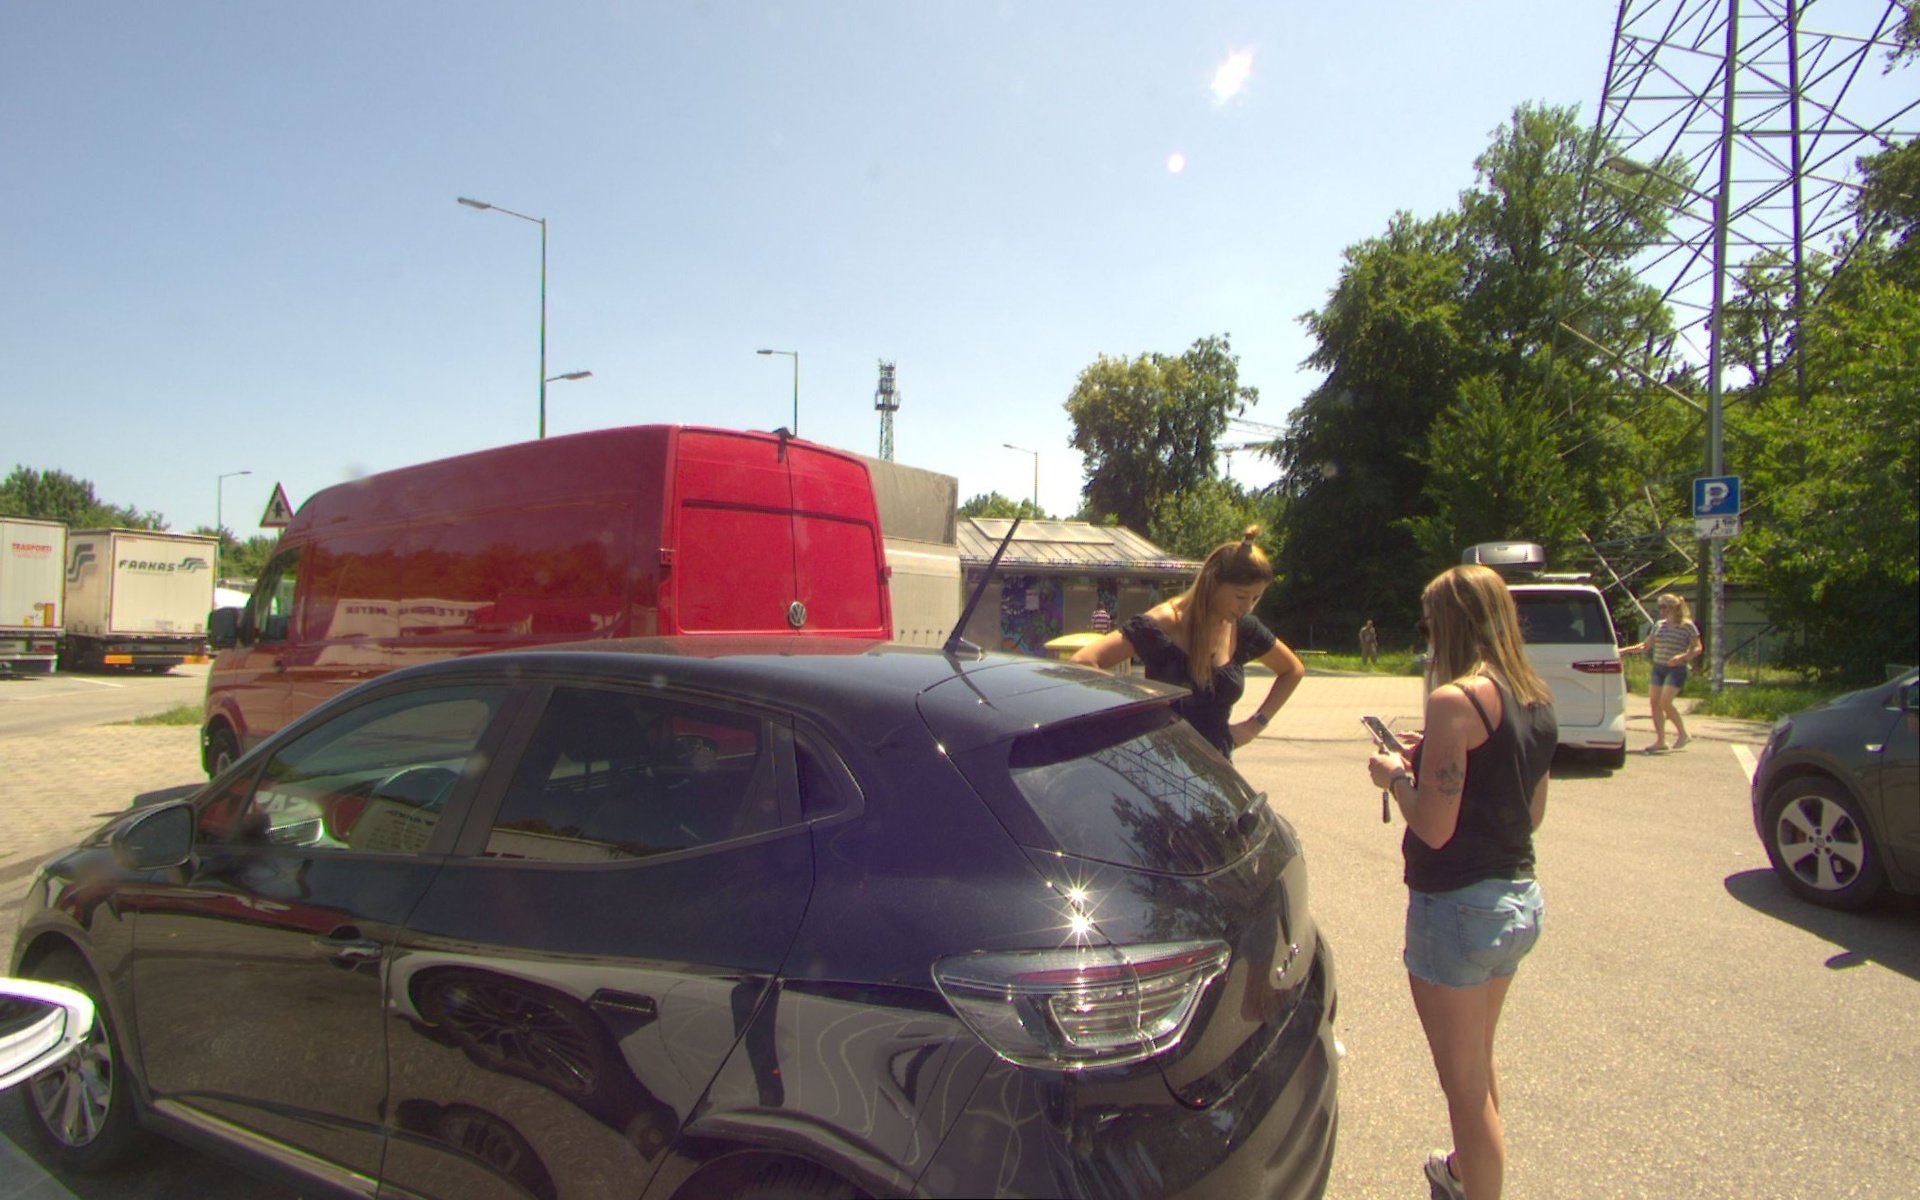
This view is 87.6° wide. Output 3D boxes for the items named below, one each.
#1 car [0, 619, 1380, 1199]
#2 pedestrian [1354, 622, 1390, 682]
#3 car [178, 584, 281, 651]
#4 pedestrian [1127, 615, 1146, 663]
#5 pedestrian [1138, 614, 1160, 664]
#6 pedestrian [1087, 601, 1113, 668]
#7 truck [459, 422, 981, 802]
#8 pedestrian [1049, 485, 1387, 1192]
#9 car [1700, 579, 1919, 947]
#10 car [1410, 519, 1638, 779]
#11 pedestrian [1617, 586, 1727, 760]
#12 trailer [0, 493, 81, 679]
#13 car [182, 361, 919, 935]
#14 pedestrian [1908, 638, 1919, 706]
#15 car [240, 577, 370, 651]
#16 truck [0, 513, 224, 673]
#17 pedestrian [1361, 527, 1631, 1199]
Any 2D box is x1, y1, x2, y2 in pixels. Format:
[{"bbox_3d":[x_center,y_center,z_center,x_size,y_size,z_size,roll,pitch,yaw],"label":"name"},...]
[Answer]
[{"bbox_3d":[-0.867,0.823,2.807,3.629,1.476,1.775,-1,-2,28],"label":"car"},{"bbox_3d":[14.207,1.771,34.559,0.955,2.039,0.829,0,-1,10],"label":"pedestrian"},{"bbox_3d":[-29.914,0.758,41.016,3.943,2.632,2.111,-1,-2,32],"label":"car"},{"bbox_3d":[5.122,1.126,29.006,0.439,1.362,0.477,0,0,23],"label":"pedestrian"},{"bbox_3d":[5.627,1.151,29.859,0.521,1.478,0.576,0,0,23],"label":"pedestrian"},{"bbox_3d":[3.786,0.937,27.024,0.520,1.783,0.651,0,0,23],"label":"pedestrian"},{"bbox_3d":[-2.454,0.174,9.932,4.751,2.863,2.514,-1,-2,34],"label":"truck"},{"bbox_3d":[0.795,0.647,3.091,0.899,1.884,0.485,1,0,-27],"label":"pedestrian"},{"bbox_3d":[5.137,0.725,3.790,1.803,1.638,4.168,1,-1,4],"label":"car"},{"bbox_3d":[6.624,0.514,11.873,1.901,2.401,4.954,1,-1,29],"label":"car"},{"bbox_3d":[8.127,0.814,11.469,0.826,1.903,0.775,-1,-1,21],"label":"pedestrian"},{"bbox_3d":[-28.627,-0.340,27.887,12.642,4.510,2.677,0,-1,32],"label":"trailer"},{"bbox_3d":[-3.384,0.251,7.334,6.298,2.668,1.988,0,-1,36],"label":"car"},{"bbox_3d":[17.152,1.260,17.420,0.694,1.178,0.787,-1,-1,22],"label":"pedestrian"},{"bbox_3d":[-29.443,0.605,44.934,6.259,3.114,2.495,0,-1,32],"label":"car"},{"bbox_3d":[-27.073,-0.023,31.186,11.800,4.279,2.582,-1,-2,32],"label":"truck"},{"bbox_3d":[1.204,0.672,2.276,0.478,1.615,0.501,0,0,29],"label":"pedestrian"}]
